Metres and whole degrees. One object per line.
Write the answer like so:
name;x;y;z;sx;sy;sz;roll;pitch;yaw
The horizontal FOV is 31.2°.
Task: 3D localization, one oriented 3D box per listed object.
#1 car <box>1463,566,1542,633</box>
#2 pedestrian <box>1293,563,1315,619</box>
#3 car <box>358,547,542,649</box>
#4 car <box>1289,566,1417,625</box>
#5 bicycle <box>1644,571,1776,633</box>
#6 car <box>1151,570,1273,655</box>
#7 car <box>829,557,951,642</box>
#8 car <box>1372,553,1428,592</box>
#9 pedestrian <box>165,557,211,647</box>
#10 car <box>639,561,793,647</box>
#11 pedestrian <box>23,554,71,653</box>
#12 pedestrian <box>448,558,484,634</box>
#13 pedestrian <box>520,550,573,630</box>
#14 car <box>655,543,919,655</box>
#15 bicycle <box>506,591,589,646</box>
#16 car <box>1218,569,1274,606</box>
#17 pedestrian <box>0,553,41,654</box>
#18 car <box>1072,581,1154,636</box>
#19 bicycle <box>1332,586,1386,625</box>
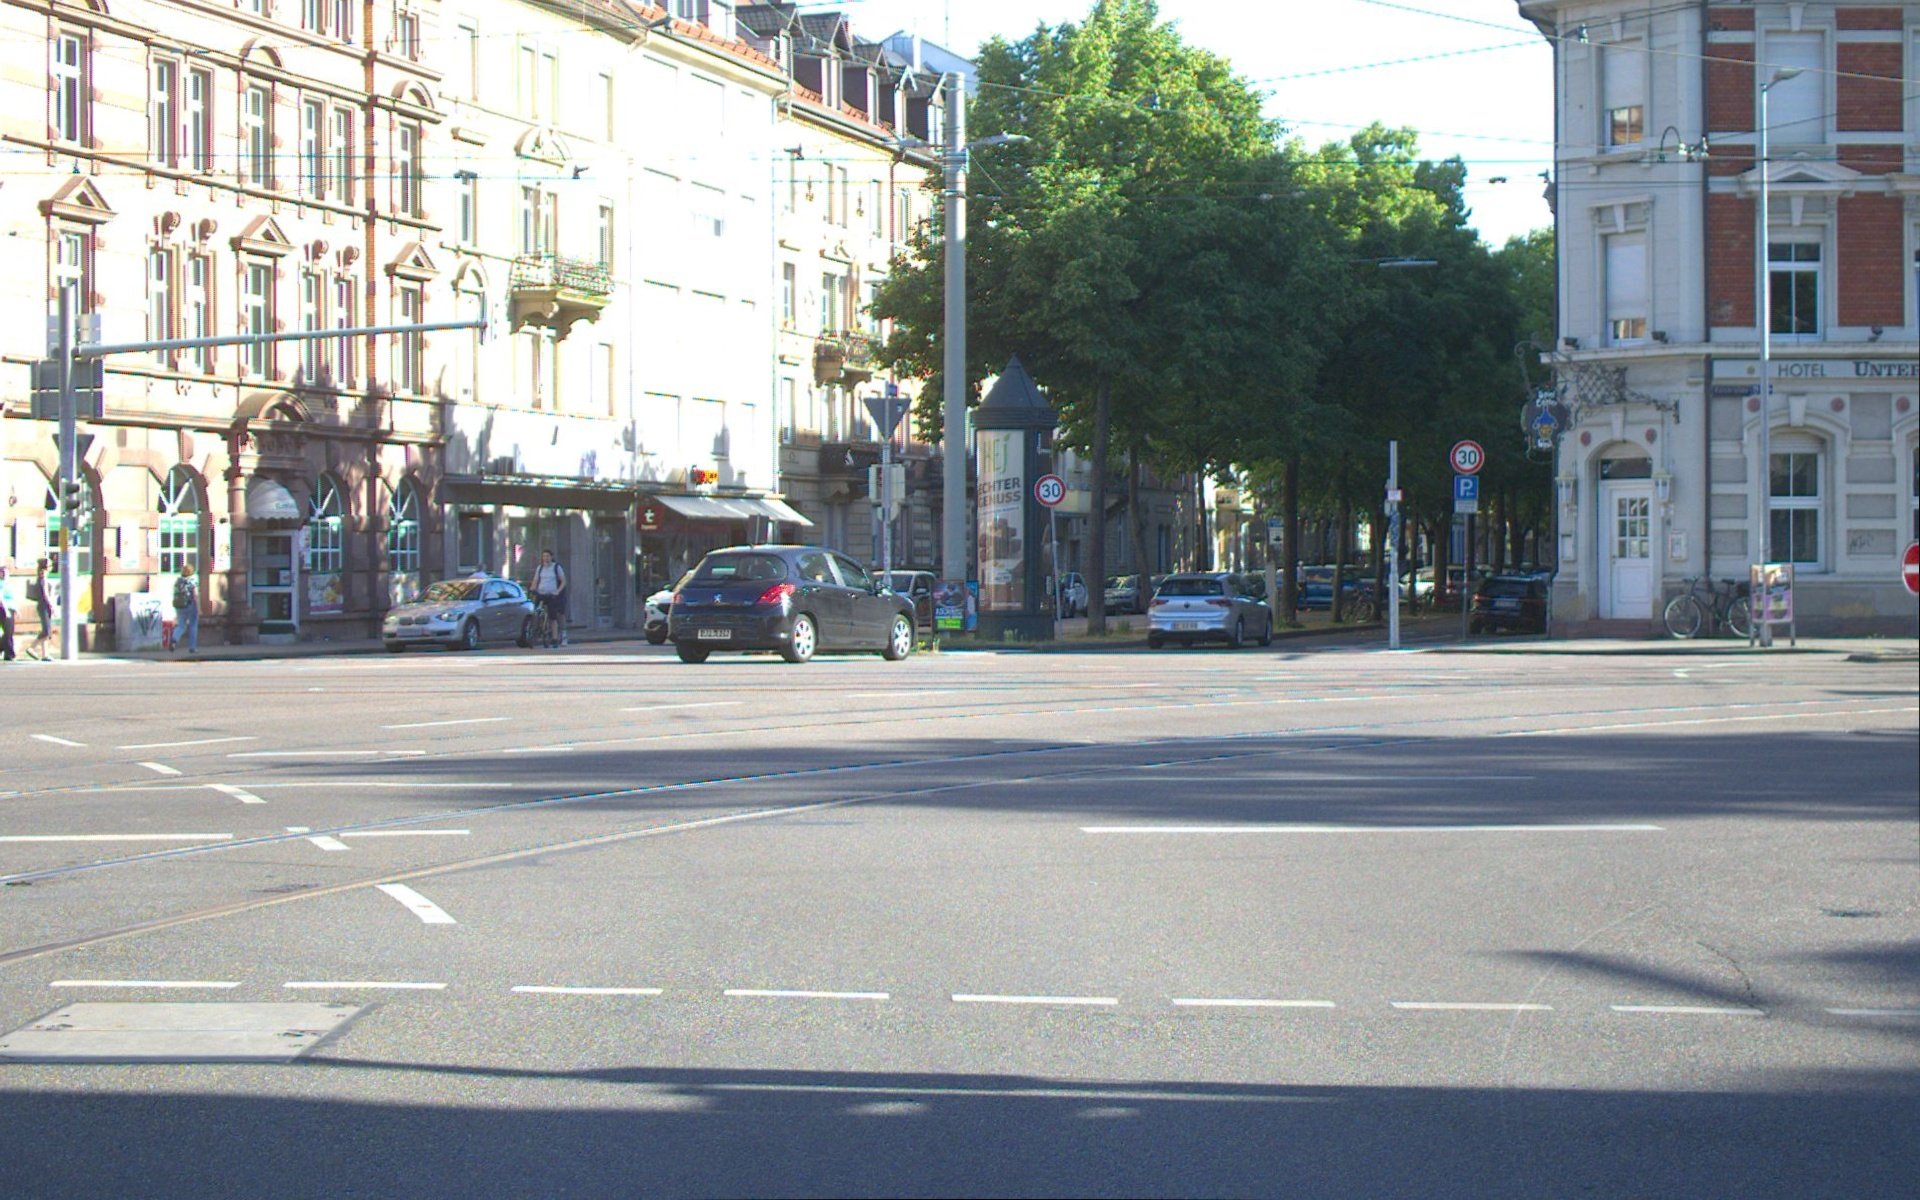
car;13.060;-0.022;82.600;1.692;1.559;3.839;1;1;11
pedestrian;11.200;-0.298;111.955;0.640;1.790;0.490;1;0;12
car;-9.910;-0.055;67.075;1.995;1.897;3.997;1;1;17
car;13.154;-0.168;114.981;3.990;1.897;1.998;1;0;16
bicycle;12.444;0.031;57.099;2.049;0.994;0.630;1;0;3
car;4.802;0.211;65.047;1.772;1.525;3.998;1;1;12
car;-1.604;-0.023;79.947;1.994;1.897;3.998;1;1;11
car;17.238;-1.072;134.599;1.560;1.508;3.653;1;1;17
pedestrian;-14.085;0.034;62.705;0.544;1.626;0.706;1;0;13
car;-4.724;0.061;67.195;1.994;1.612;3.998;1;1;11
pedestrian;-15.154;0.047;57.087;0.633;1.628;0.701;1;0;-4
pedestrian;-10.666;-0.093;74.230;0.544;1.626;0.706;1;0;13
pedestrian;-7.837;-0.193;65.215;0.821;1.507;0.598;1;0;15
car;-2.173;-0.026;44.230;1.756;1.357;3.850;1;1;25
bicycle;-7.823;0.334;65.295;0.763;1.004;2.395;1;1;13
car;11.873;-0.523;142.415;1.560;1.508;3.653;1;1;17
pedestrian;-15.341;0.057;55.913;0.633;1.628;0.701;1;0;-4
car;5.471;0.290;122.576;1.995;1.897;3.997;1;1;17
bicycle;11.498;0.164;99.078;0.626;1.081;1.703;1;1;-31
